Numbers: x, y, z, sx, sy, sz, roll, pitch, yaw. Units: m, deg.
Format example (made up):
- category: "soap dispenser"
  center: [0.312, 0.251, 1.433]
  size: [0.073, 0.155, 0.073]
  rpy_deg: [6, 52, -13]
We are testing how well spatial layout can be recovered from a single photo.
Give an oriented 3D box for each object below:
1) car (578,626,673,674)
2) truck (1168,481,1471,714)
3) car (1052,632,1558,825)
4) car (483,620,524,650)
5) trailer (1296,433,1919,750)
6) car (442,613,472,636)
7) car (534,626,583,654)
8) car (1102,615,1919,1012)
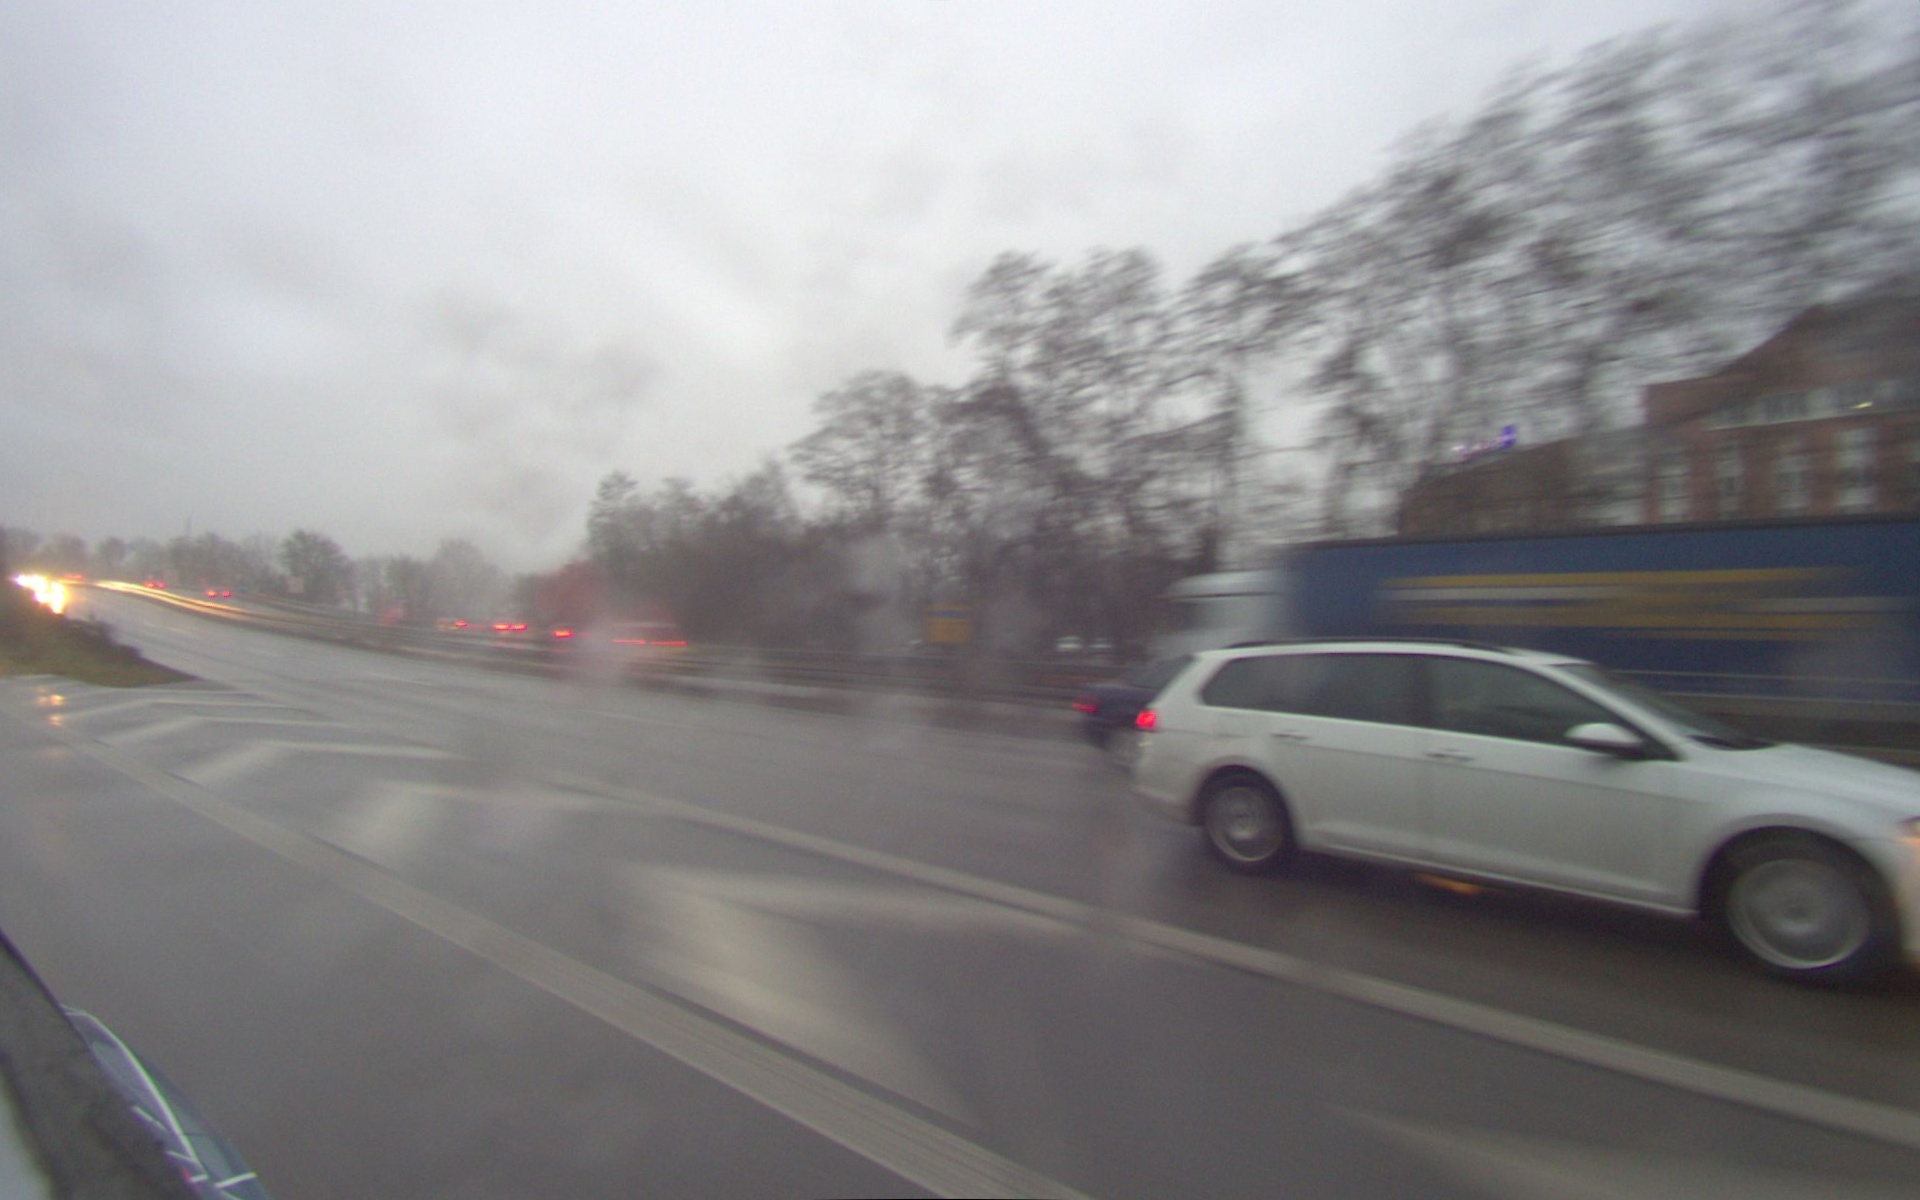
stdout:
- category: "car"
  center: [-11.989, 1.735, 36.109]
  size: [1.680, 1.577, 4.045]
  rpy_deg: [1, -1, -43]
- category: "truck"
  center: [8.598, -0.025, 24.620]
  size: [3.449, 4.884, 6.036]
  rpy_deg: [0, -1, -44]
- category: "car"
  center: [3.333, 1.140, 10.536]
  size: [4.705, 1.546, 1.755]
  rpy_deg: [-2, -4, 45]
- category: "car"
  center: [-32.844, 2.503, 72.827]
  size: [1.967, 2.029, 4.010]
  rpy_deg: [0, -1, -35]
- category: "trailer"
  center: [13.576, -0.098, 19.405]
  size: [3.449, 4.884, 13.491]
  rpy_deg: [0, -1, -44]
- category: "car"
  center: [-44.924, 2.185, 90.374]
  size: [1.886, 2.029, 4.011]
  rpy_deg: [1, -1, -34]
- category: "car"
  center: [-23.767, 2.362, 59.887]
  size: [1.441, 1.577, 3.654]
  rpy_deg: [1, -1, -43]
- category: "car"
  center: [3.310, 0.897, 5.758]
  size: [1.925, 1.532, 4.791]
  rpy_deg: [4, -4, -44]
